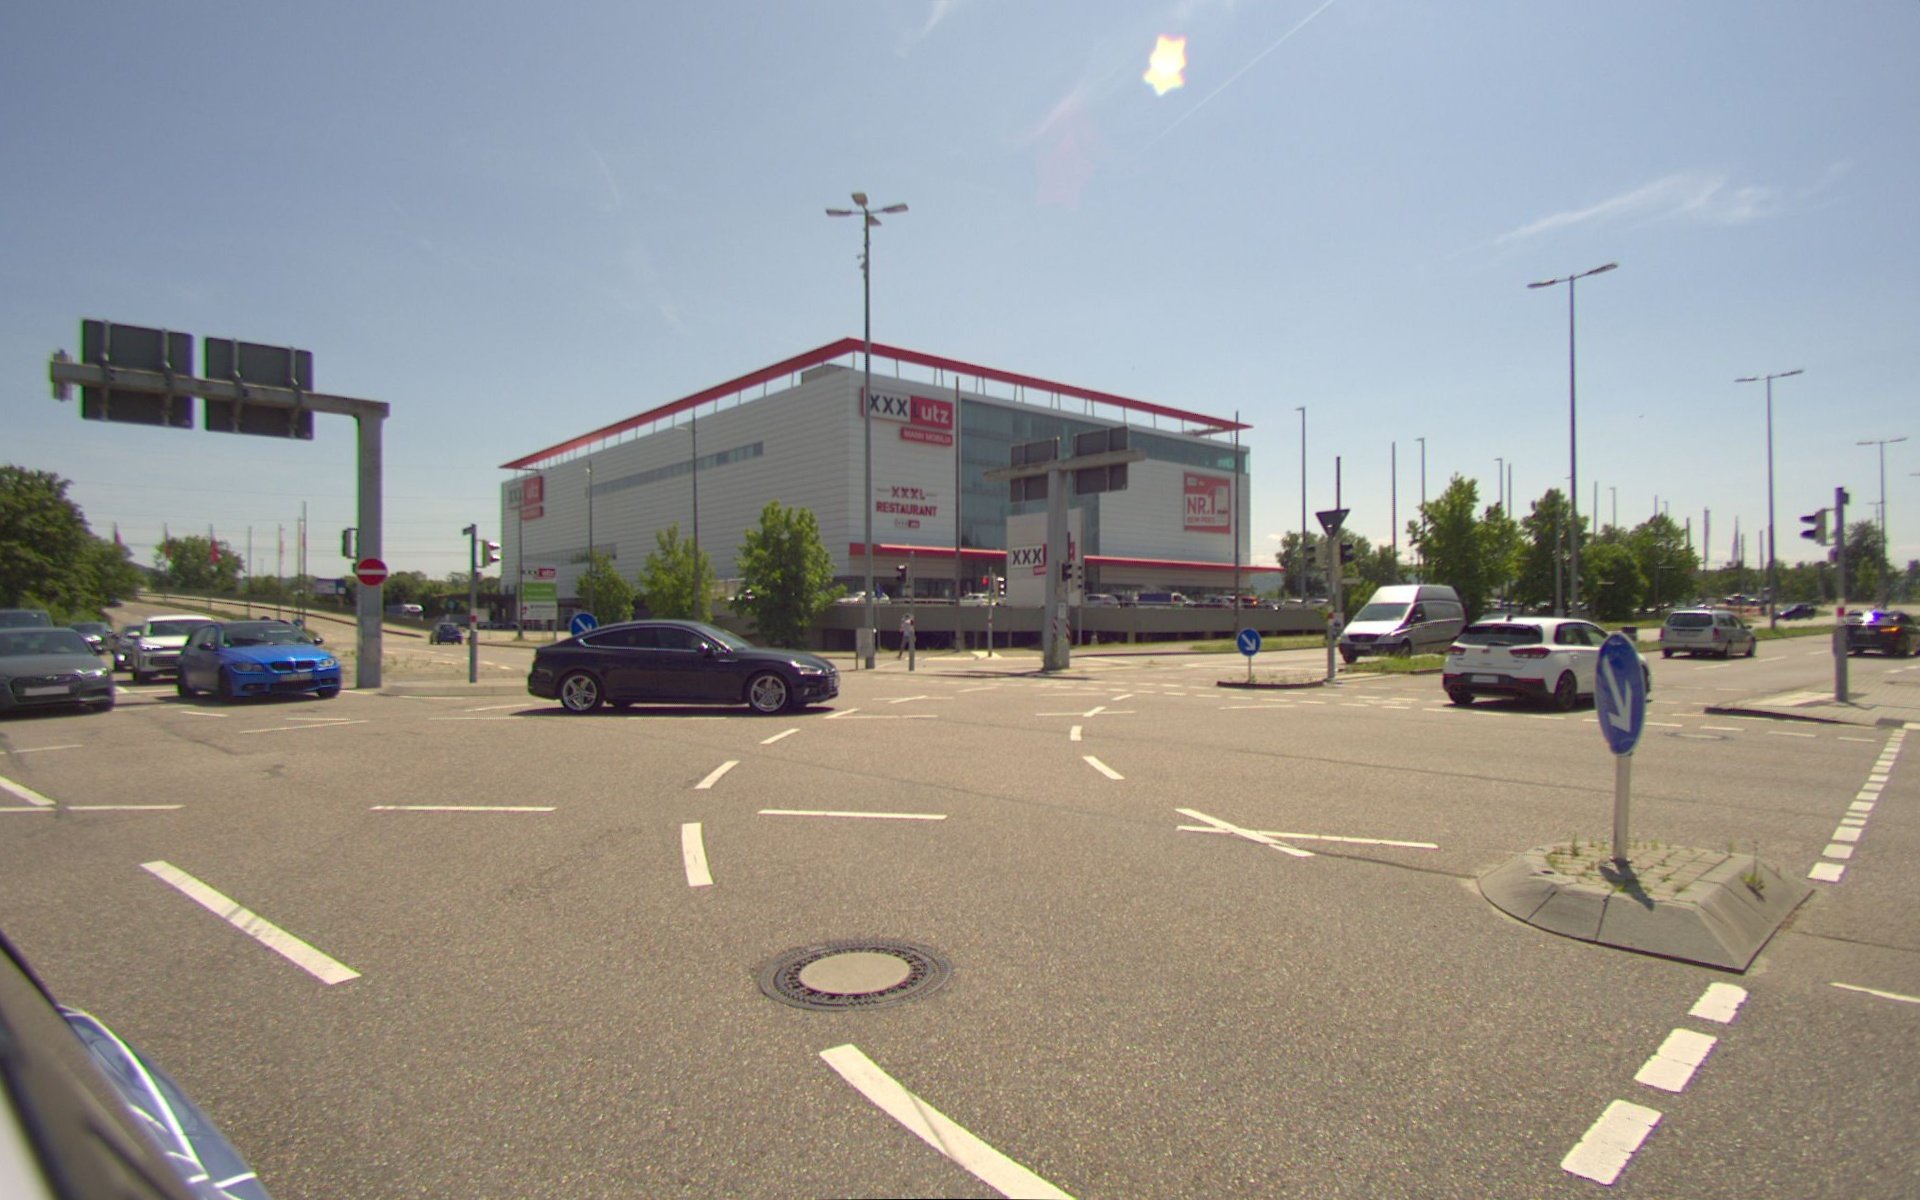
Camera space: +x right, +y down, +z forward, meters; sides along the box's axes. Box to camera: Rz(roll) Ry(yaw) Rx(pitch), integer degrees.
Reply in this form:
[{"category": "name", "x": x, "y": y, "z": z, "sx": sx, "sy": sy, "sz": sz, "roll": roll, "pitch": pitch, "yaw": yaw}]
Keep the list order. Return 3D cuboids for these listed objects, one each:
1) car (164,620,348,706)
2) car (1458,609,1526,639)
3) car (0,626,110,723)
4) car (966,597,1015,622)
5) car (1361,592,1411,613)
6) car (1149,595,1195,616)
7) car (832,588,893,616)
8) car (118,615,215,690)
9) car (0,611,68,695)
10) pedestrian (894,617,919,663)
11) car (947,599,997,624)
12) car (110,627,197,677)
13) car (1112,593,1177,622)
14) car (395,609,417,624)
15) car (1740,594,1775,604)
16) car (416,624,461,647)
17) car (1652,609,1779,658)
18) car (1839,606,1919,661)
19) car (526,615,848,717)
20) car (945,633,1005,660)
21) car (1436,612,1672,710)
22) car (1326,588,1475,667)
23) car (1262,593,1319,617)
[{"category": "car", "x": -13.173, "y": 1.146, "z": 18.842, "sx": 4.428, "sy": 1.414, "sz": 1.747, "roll": -3, "pitch": -3, "yaw": 40}, {"category": "car", "x": 27.887, "y": 1.248, "z": 53.039, "sx": 3.938, "sy": 1.519, "sz": 1.862, "roll": 0, "pitch": -1, "yaw": -42}, {"category": "car", "x": -15.326, "y": 1.143, "z": 16.562, "sx": 4.090, "sy": 1.393, "sz": 1.745, "roll": -1, "pitch": 0, "yaw": 44}, {"category": "car", "x": 2.577, "y": 0.803, "z": 85.334, "sx": 1.756, "sy": 2.029, "sz": 4.140, "roll": 1, "pitch": -1, "yaw": -42}, {"category": "car", "x": 41.846, "y": 0.263, "z": 99.443, "sx": 1.969, "sy": 2.029, "sz": 4.005, "roll": 1, "pitch": -1, "yaw": -42}, {"category": "car", "x": 20.654, "y": 0.561, "z": 98.731, "sx": 1.969, "sy": 1.915, "sz": 4.005, "roll": 1, "pitch": -2, "yaw": -42}, {"category": "car", "x": -7.328, "y": 0.183, "z": 76.379, "sx": 4.404, "sy": 2.029, "sz": 1.681, "roll": 0, "pitch": -2, "yaw": -41}, {"category": "car", "x": -19.855, "y": 1.254, "z": 25.425, "sx": 1.742, "sy": 1.653, "sz": 4.501, "roll": -2, "pitch": 0, "yaw": -37}, {"category": "car", "x": -22.863, "y": 1.229, "z": 24.323, "sx": 1.867, "sy": 1.835, "sz": 4.846, "roll": -1, "pitch": 0, "yaw": -39}, {"category": "pedestrian", "x": -2.095, "y": 1.552, "z": 39.583, "sx": 0.595, "sy": 1.797, "sz": 0.828, "roll": 1, "pitch": -2, "yaw": -40}, {"category": "car", "x": 0.952, "y": 0.943, "z": 83.788, "sx": 1.756, "sy": 2.029, "sz": 4.238, "roll": 1, "pitch": -1, "yaw": -42}, {"category": "car", "x": -25.939, "y": 1.648, "z": 32.658, "sx": 1.741, "sy": 1.433, "sz": 3.910, "roll": -2, "pitch": -1, "yaw": -32}, {"category": "car", "x": 13.431, "y": 0.583, "z": 73.910, "sx": 4.330, "sy": 2.029, "sz": 1.971, "roll": -1, "pitch": -1, "yaw": 43}, {"category": "car", "x": -89.224, "y": 2.701, "z": 162.878, "sx": 2.159, "sy": 2.300, "sz": 4.821, "roll": 1, "pitch": -2, "yaw": -40}, {"category": "car", "x": 118.672, "y": -0.155, "z": 150.666, "sx": 4.004, "sy": 1.433, "sz": 1.676, "roll": -1, "pitch": -1, "yaw": 39}, {"category": "car", "x": -37.954, "y": 2.563, "z": 73.604, "sx": 1.969, "sy": 1.608, "sz": 4.004, "roll": 0, "pitch": -1, "yaw": -43}, {"category": "car", "x": 23.305, "y": 1.035, "z": 31.193, "sx": 3.940, "sy": 1.433, "sz": 1.703, "roll": 1, "pitch": -3, "yaw": -31}, {"category": "car", "x": 29.769, "y": 1.145, "z": 32.697, "sx": 1.803, "sy": 1.452, "sz": 4.491, "roll": -4, "pitch": -8, "yaw": 43}, {"category": "car", "x": -4.039, "y": 0.974, "z": 15.331, "sx": 4.411, "sy": 1.415, "sz": 1.674, "roll": -1, "pitch": -1, "yaw": 6}, {"category": "car", "x": 1.051, "y": 3.191, "z": 69.909, "sx": 2.001, "sy": 1.719, "sz": 3.942, "roll": -2, "pitch": -2, "yaw": 44}, {"category": "car", "x": 9.949, "y": 0.956, "z": 16.891, "sx": 4.002, "sy": 1.447, "sz": 1.798, "roll": 1, "pitch": -2, "yaw": -33}, {"category": "car", "x": 13.394, "y": 0.801, "z": 30.640, "sx": 4.968, "sy": 2.200, "sz": 2.004, "roll": 0, "pitch": -2, "yaw": -38}, {"category": "car", "x": 28.990, "y": 0.480, "z": 88.918, "sx": 1.969, "sy": 2.029, "sz": 4.334, "roll": 1, "pitch": -1, "yaw": -42}]
